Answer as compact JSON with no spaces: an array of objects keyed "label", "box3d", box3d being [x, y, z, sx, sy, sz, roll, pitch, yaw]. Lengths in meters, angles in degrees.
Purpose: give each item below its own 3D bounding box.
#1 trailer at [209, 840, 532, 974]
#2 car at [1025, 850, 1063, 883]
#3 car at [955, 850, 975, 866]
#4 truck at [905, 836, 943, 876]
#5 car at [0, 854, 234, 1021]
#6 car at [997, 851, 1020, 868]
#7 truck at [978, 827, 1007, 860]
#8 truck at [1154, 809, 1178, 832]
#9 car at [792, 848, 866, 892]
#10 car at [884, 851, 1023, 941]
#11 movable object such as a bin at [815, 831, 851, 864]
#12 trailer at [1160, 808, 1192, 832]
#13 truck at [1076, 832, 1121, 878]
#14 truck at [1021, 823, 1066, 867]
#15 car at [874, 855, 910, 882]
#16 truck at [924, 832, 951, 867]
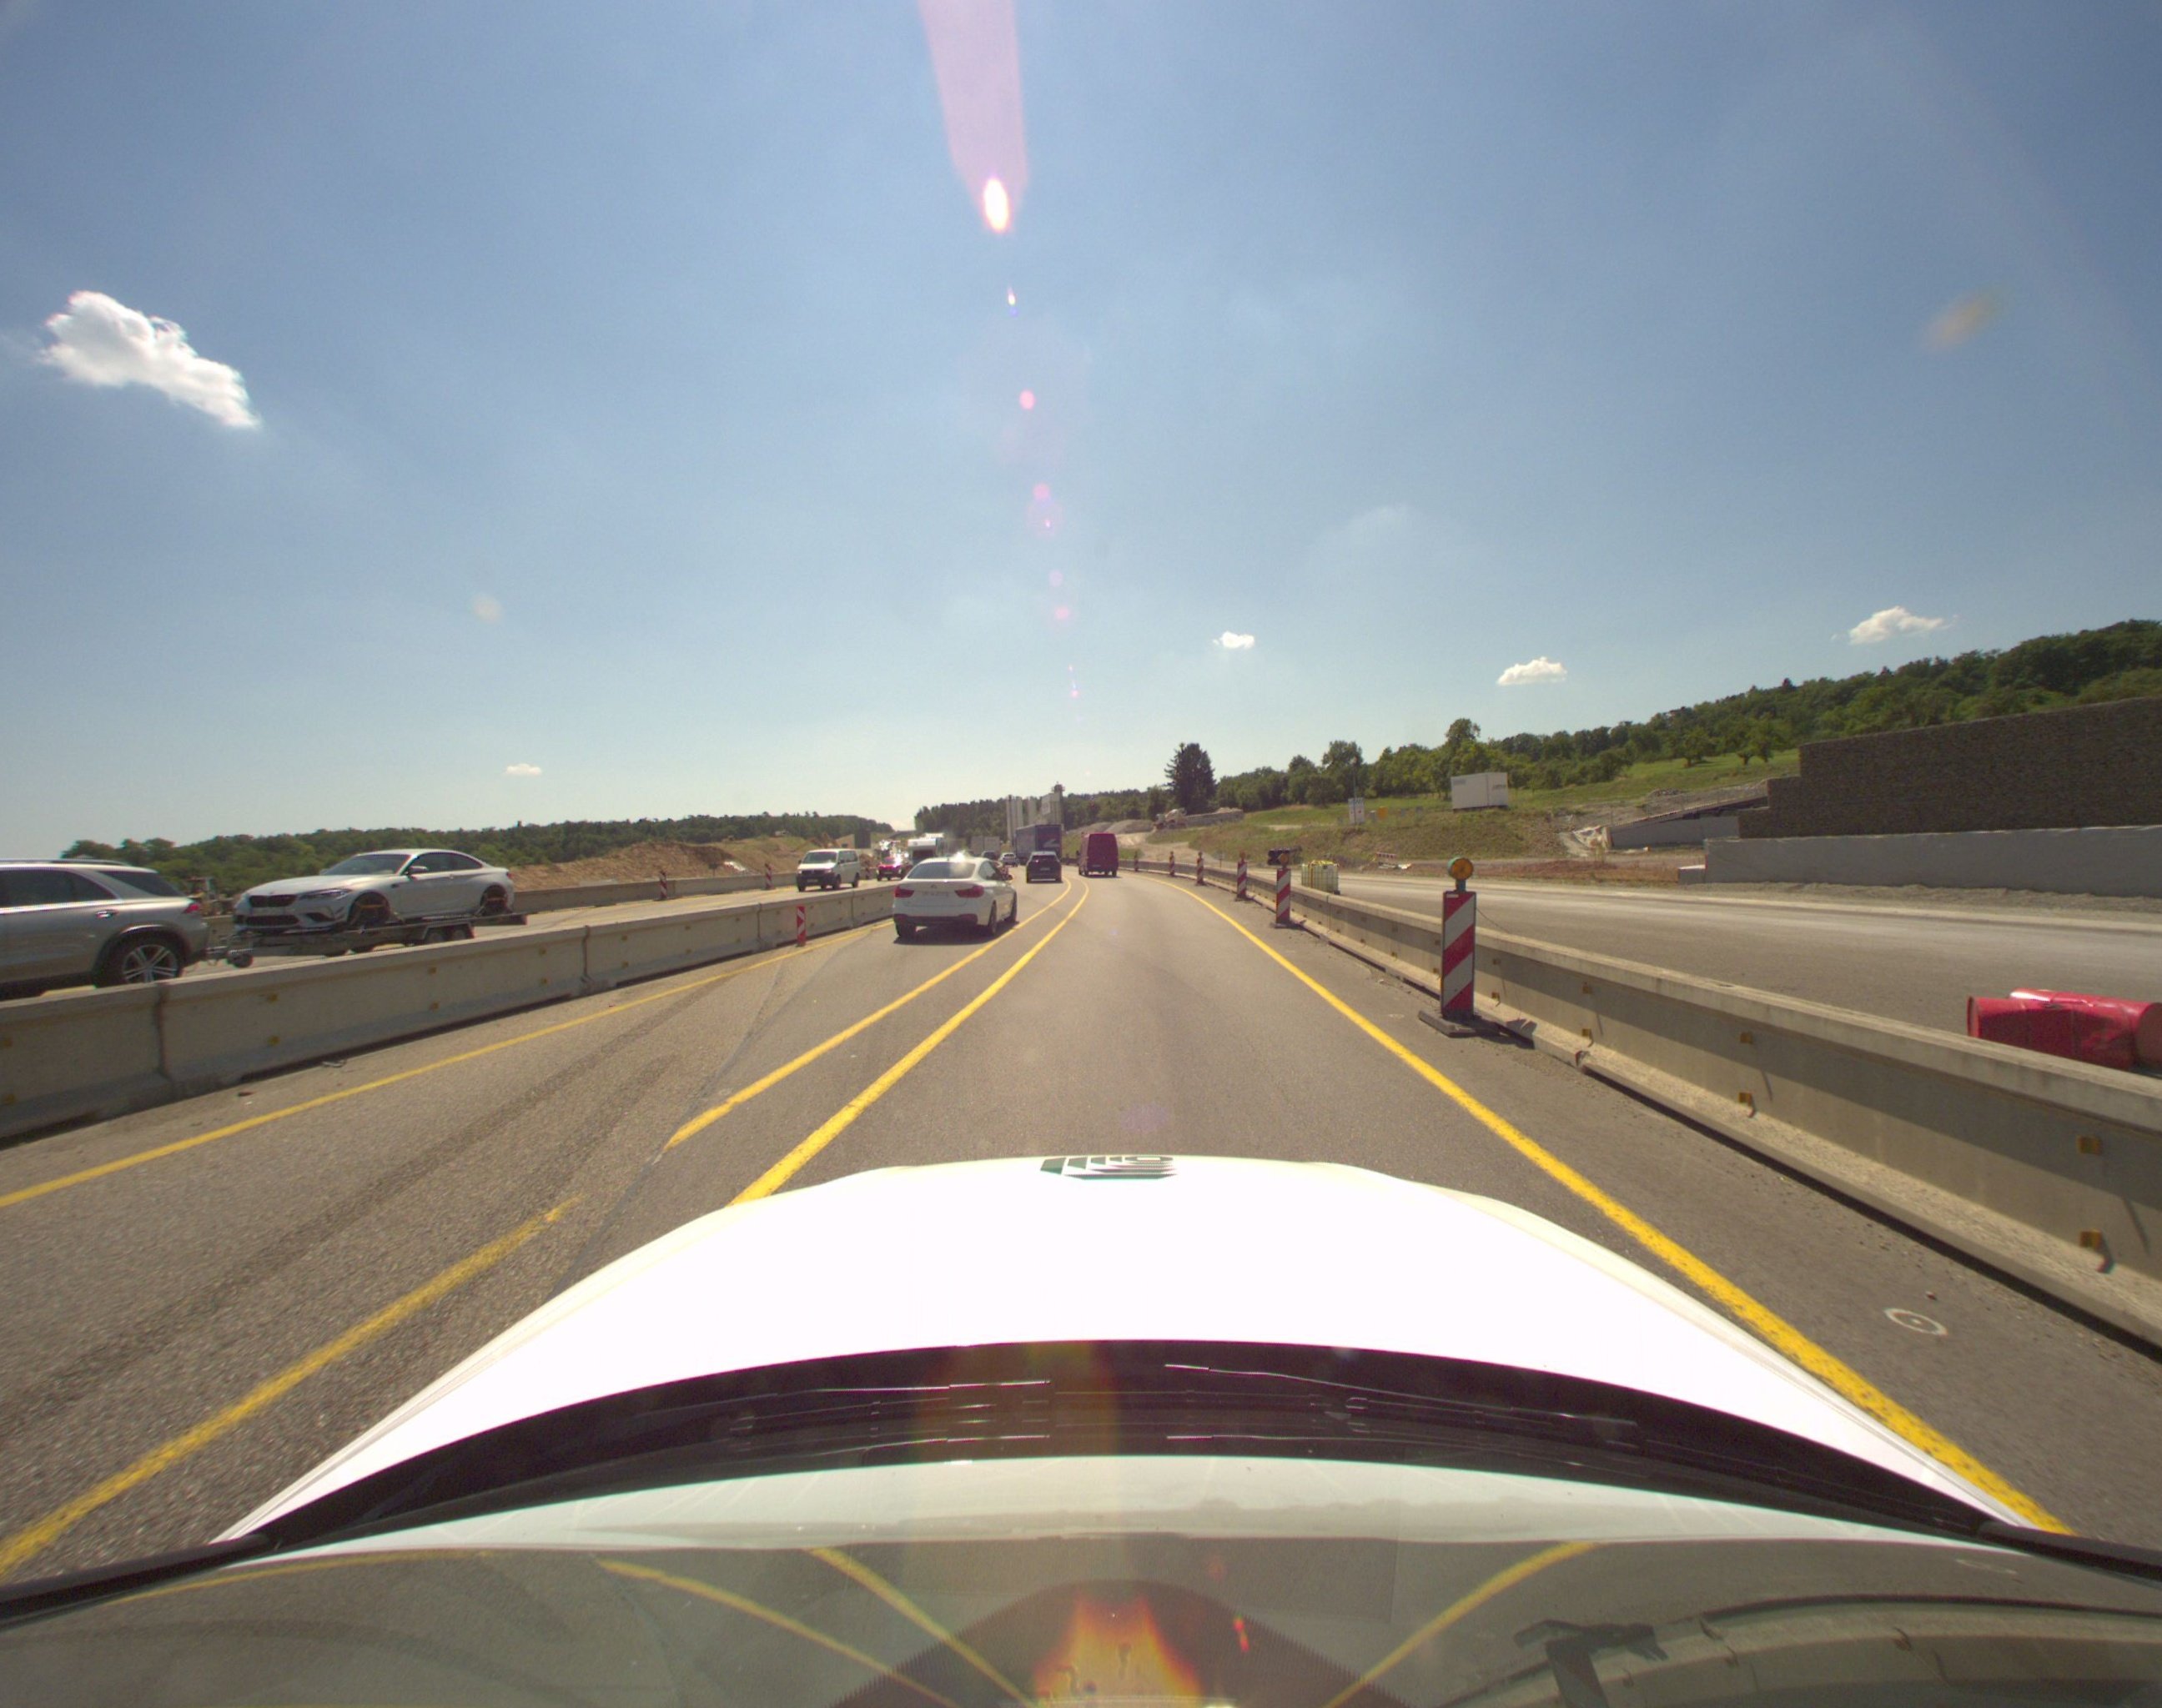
[{"label":"trailer","box3d":[-12.660,0.806,15.009,1.858,2.022,4.439,-3,0,2]},{"label":"car","box3d":[-1.887,0.606,42.656,1.790,1.534,3.929,-3,0,-1]},{"label":"car","box3d":[-12.412,0.425,87.334,1.656,1.605,4.393,-3,1,-2]},{"label":"truck","box3d":[-13.343,0.139,69.656,2.438,3.071,7.232,-3,0,-6]},{"label":"car","box3d":[-12.836,1.001,8.865,1.859,1.806,4.909,-4,1,2]},{"label":"car","box3d":[-7.431,0.531,83.199,1.803,1.579,3.984,-3,1,-11]},{"label":"truck","box3d":[-13.777,-1.585,126.407,3.684,4.691,9.719,-3,0,-10]},{"label":"truck","box3d":[16.058,-6.300,154.346,2.758,4.095,4.068,-3,0,-24]},{"label":"car","box3d":[-12.183,0.715,39.772,1.858,1.953,4.895,-3,0,2]},{"label":"car","box3d":[-2.408,0.727,16.773,1.787,1.534,5.078,0,1,3]},{"label":"movable object such as a bin","box3d":[-59.373,-1.571,195.388,7.647,7.713,3.429,-3,0,-14]},{"label":"trailer","box3d":[17.541,-6.325,150.913,2.769,4.114,6.693,-3,0,-23]},{"label":"truck","box3d":[1.044,0.011,51.435,2.108,2.633,6.474,-3,0,-4]},{"label":"truck","box3d":[-3.864,-0.868,81.996,3.018,4.152,8.236,-3,0,-13]},{"label":"car","box3d":[-12.301,0.899,53.288,1.718,1.627,4.327,-3,1,-6]},{"label":"truck","box3d":[-17.529,-0.504,99.663,2.698,4.061,5.490,-3,0,-6]}]
